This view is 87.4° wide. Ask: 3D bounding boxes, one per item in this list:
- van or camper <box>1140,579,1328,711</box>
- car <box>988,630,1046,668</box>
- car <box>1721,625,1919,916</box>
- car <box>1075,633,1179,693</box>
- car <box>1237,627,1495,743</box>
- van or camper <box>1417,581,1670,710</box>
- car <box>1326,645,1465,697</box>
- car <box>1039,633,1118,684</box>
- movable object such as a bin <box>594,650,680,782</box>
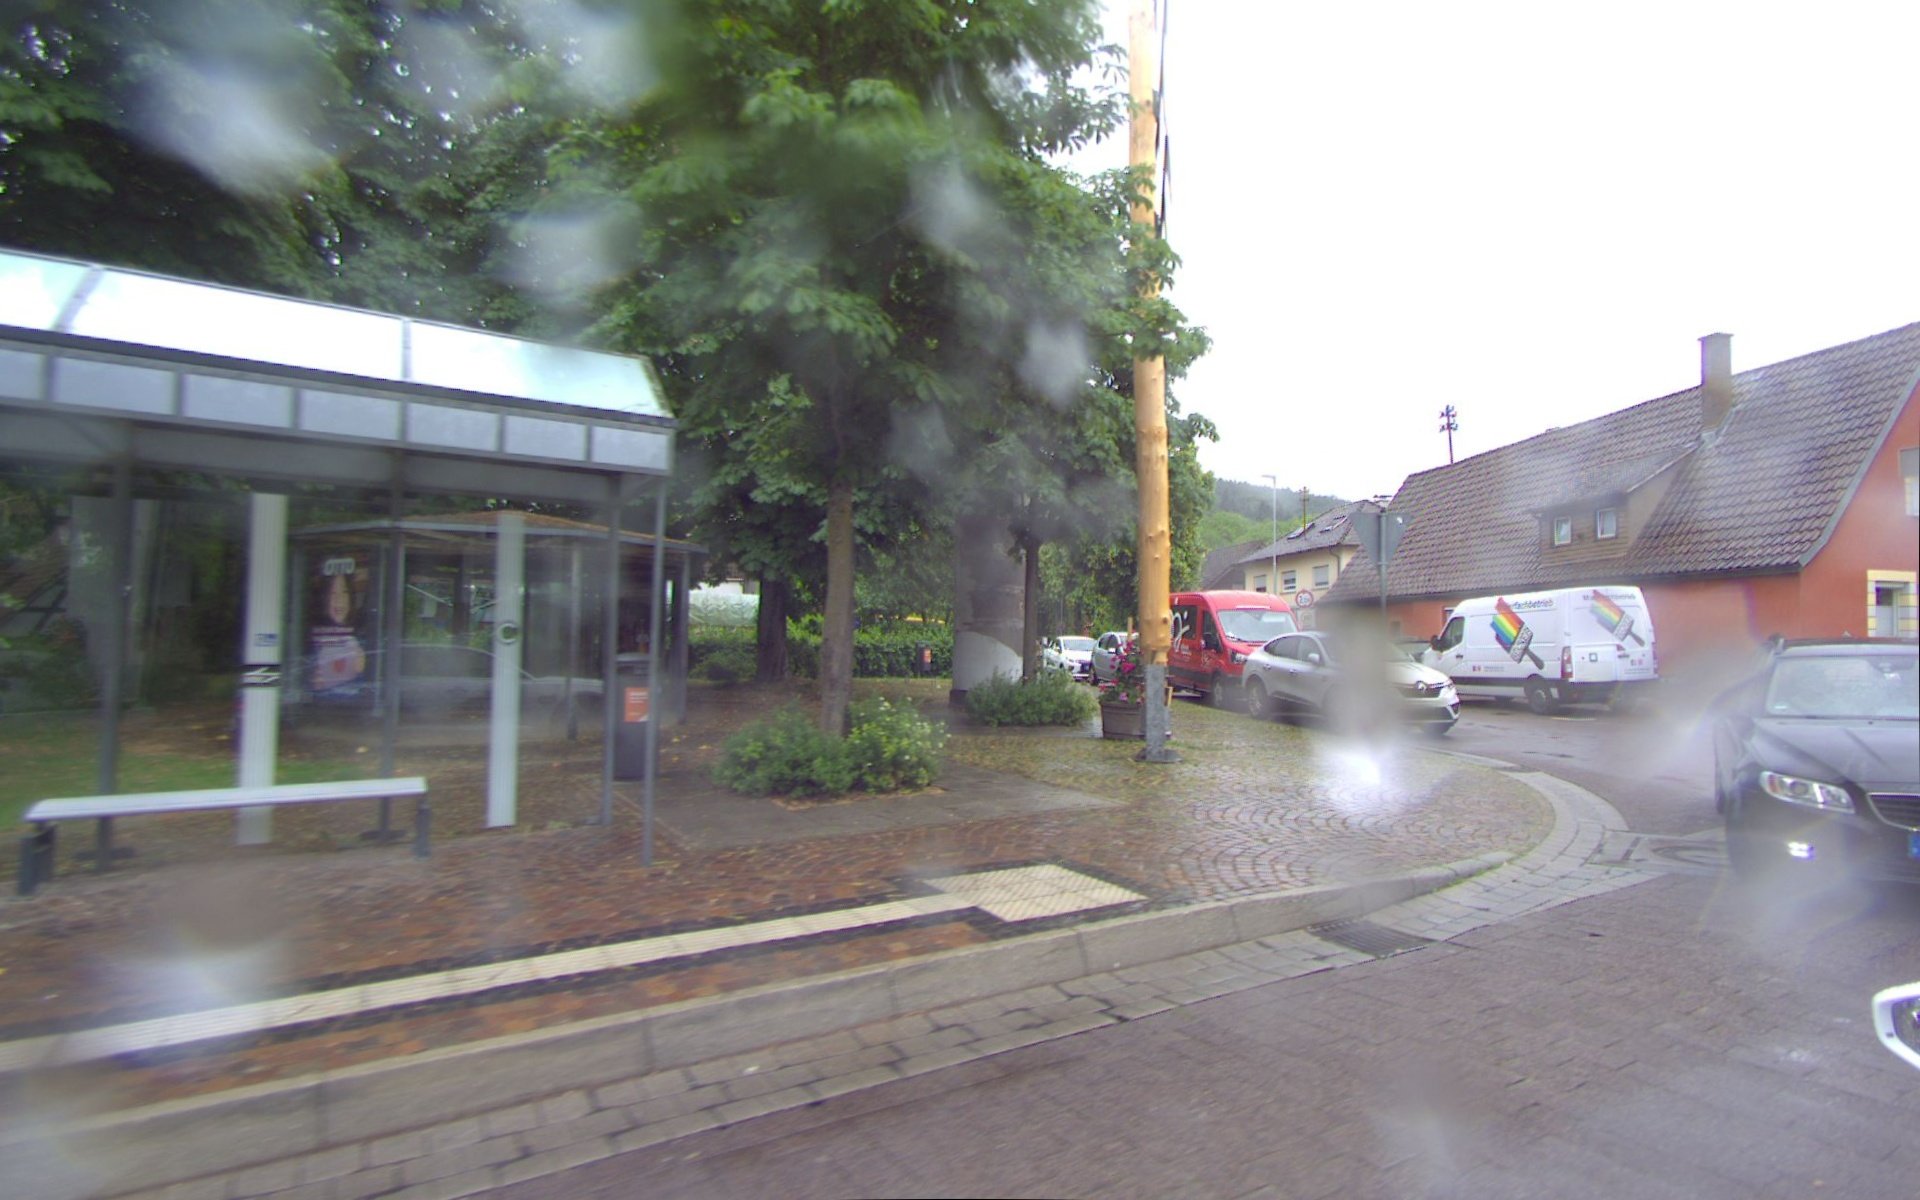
[{"bbox_3d":[5.866,0.970,22.482,2.114,2.506,5.874,2,-2,-5],"label":"van or camper"},{"bbox_3d":[2.572,2.220,46.171,1.781,1.622,3.754,3,-2,-10],"label":"car"},{"bbox_3d":[6.517,0.926,6.636,1.825,1.496,4.288,-3,-4,44],"label":"car"},{"bbox_3d":[4.650,1.755,28.502,1.768,1.570,3.806,2,-3,-9],"label":"car"},{"bbox_3d":[6.382,1.256,16.416,1.848,1.570,4.453,1,-1,-10],"label":"car"},{"bbox_3d":[12.443,0.975,21.951,2.169,2.467,5.157,-1,-2,-5],"label":"van or camper"},{"bbox_3d":[11.752,1.879,27.401,1.802,1.297,4.002,-1,-2,-5],"label":"car"},{"bbox_3d":[3.930,1.944,33.852,1.767,1.570,3.808,2,-3,-7],"label":"car"},{"bbox_3d":[-2.989,1.057,9.294,0.598,1.161,0.559,4,-4,-33],"label":"movable object such as a bin"}]
